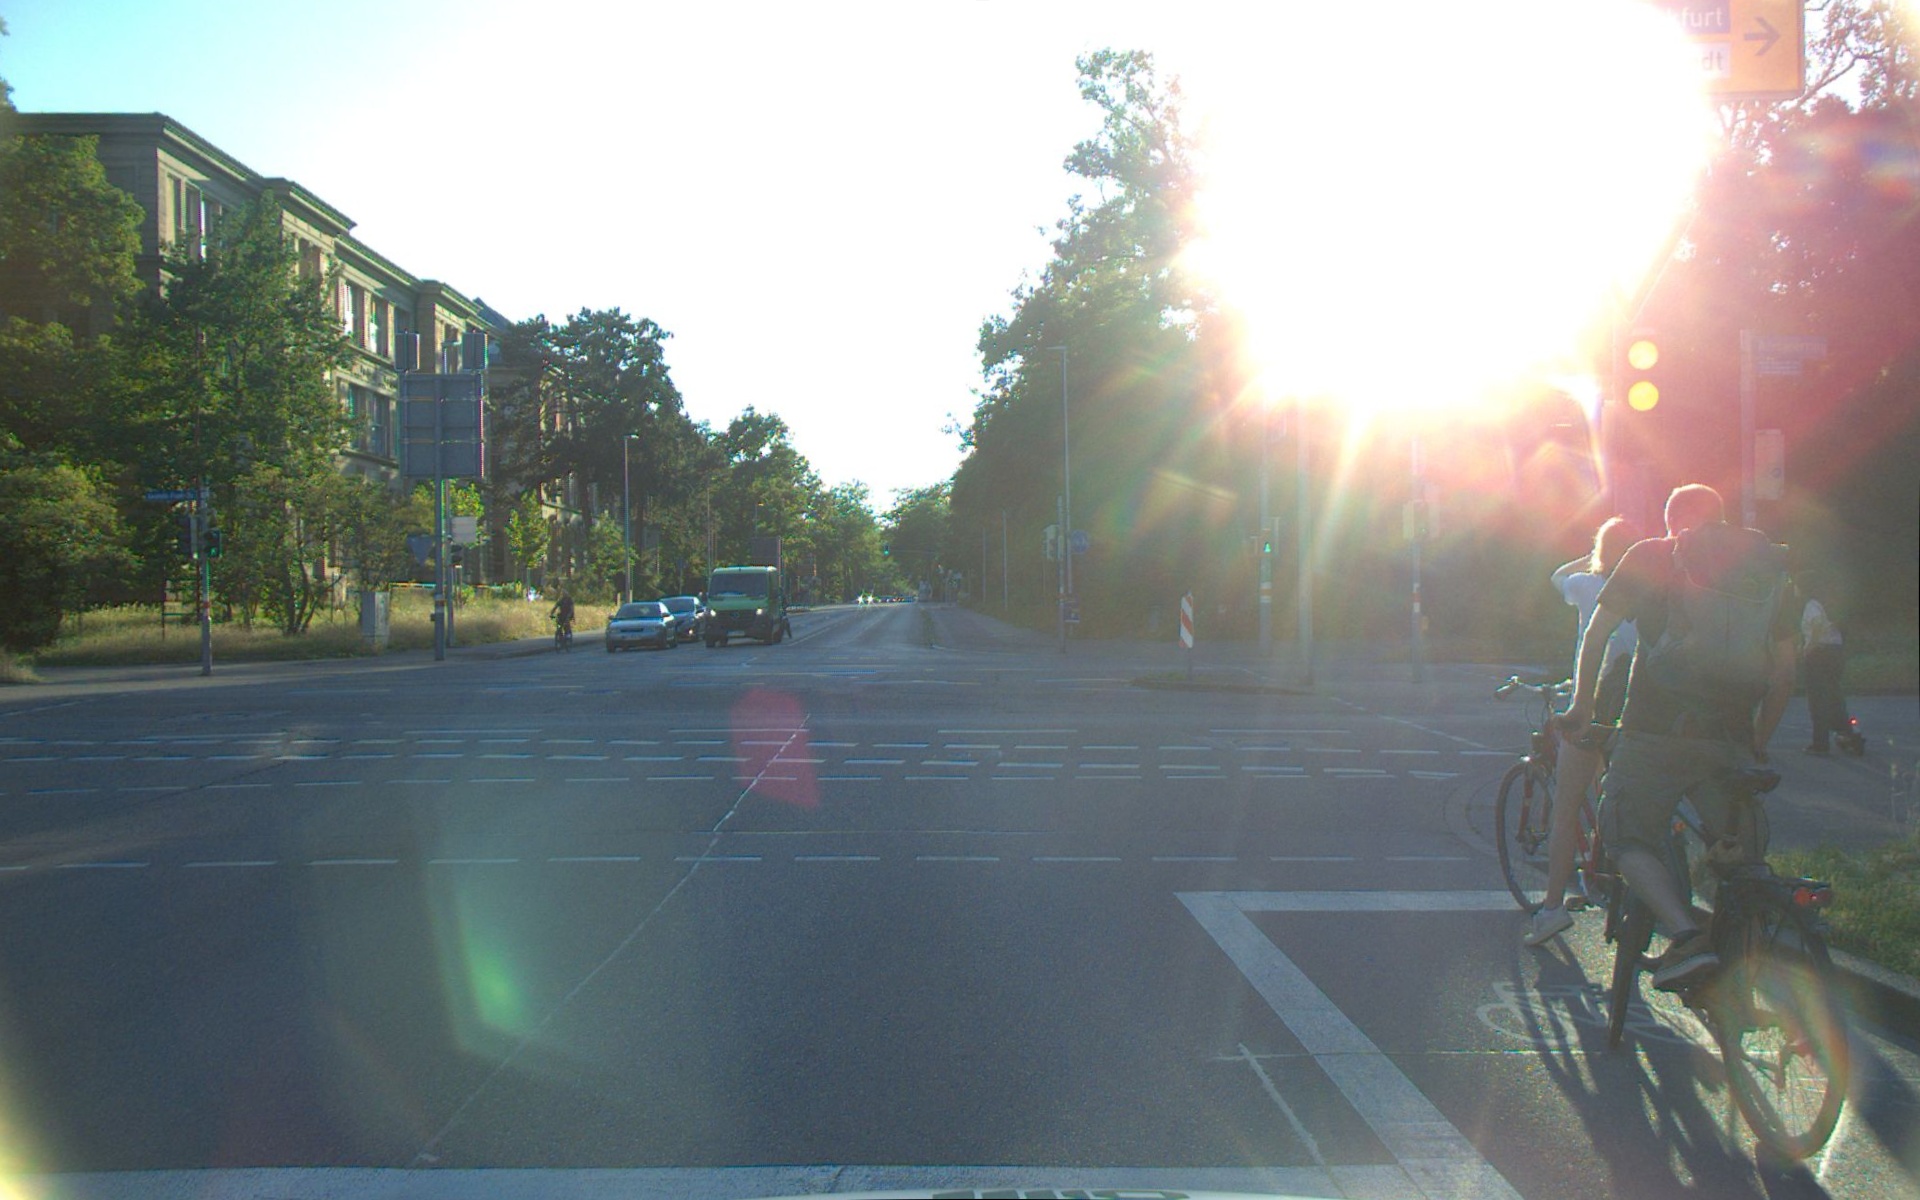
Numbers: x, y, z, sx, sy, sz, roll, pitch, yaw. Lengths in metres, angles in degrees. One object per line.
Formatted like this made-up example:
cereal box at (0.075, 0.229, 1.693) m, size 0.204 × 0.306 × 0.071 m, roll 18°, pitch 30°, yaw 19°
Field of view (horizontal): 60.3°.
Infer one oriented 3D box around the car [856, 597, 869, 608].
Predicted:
car at (-13.803, 0.378, 234.183) m, size 1.735 × 1.500 × 3.772 m, roll -1°, pitch 0°, yaw -5°

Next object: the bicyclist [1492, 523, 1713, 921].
bicyclist at (2.755, 0.495, 7.166) m, size 0.591 × 1.613 × 0.909 m, roll 0°, pitch 0°, yaw -1°

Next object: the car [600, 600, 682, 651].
car at (-9.479, 0.724, 49.472) m, size 1.694 × 1.433 × 4.139 m, roll -1°, pitch 0°, yaw -1°

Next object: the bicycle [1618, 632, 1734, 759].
bicycle at (6.609, 0.838, 15.213) m, size 0.756 × 1.024 × 2.012 m, roll 0°, pitch 0°, yaw 30°

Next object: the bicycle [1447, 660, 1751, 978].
bicycle at (2.756, 0.882, 7.350) m, size 0.601 × 1.158 × 1.884 m, roll 0°, pitch 0°, yaw -1°

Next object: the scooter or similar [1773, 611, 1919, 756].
scooter or similar at (7.803, 0.706, 14.596) m, size 0.550 × 1.210 × 1.422 m, roll 0°, pitch 0°, yaw 0°

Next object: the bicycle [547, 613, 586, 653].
bicycle at (-11.840, 0.986, 49.809) m, size 0.672 × 1.143 × 2.168 m, roll -1°, pitch 0°, yaw -1°

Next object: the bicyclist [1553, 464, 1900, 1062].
bicyclist at (2.321, 0.463, 5.097) m, size 0.684 × 1.696 × 0.798 m, roll 0°, pitch 0°, yaw -1°

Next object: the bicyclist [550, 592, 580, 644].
bicyclist at (-11.842, 0.534, 49.598) m, size 0.669 × 1.538 × 0.955 m, roll -1°, pitch 0°, yaw -1°

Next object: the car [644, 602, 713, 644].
car at (-9.494, 0.751, 56.045) m, size 1.729 × 1.351 × 3.642 m, roll -1°, pitch 0°, yaw -1°

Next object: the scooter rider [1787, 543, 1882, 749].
scooter rider at (7.799, 0.403, 14.766) m, size 0.554 × 1.797 × 0.505 m, roll -1°, pitch -1°, yaw 0°

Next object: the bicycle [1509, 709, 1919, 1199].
bicycle at (2.318, 0.935, 4.997) m, size 0.684 × 1.081 × 1.825 m, roll 0°, pitch 0°, yaw -1°

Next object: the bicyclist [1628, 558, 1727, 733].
bicyclist at (6.586, 0.397, 15.174) m, size 0.745 × 1.544 × 0.855 m, roll 0°, pitch 0°, yaw 30°

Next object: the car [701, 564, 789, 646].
car at (-6.505, 0.134, 50.650) m, size 1.997 × 2.317 × 5.940 m, roll -1°, pitch 0°, yaw -1°

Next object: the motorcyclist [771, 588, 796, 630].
motorcyclist at (-5.973, 0.298, 56.046) m, size 0.734 × 1.382 × 0.704 m, roll -1°, pitch 0°, yaw -1°

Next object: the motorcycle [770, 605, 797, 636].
motorcycle at (-5.970, 0.678, 56.057) m, size 0.739 × 1.019 × 1.878 m, roll -1°, pitch 0°, yaw -1°
